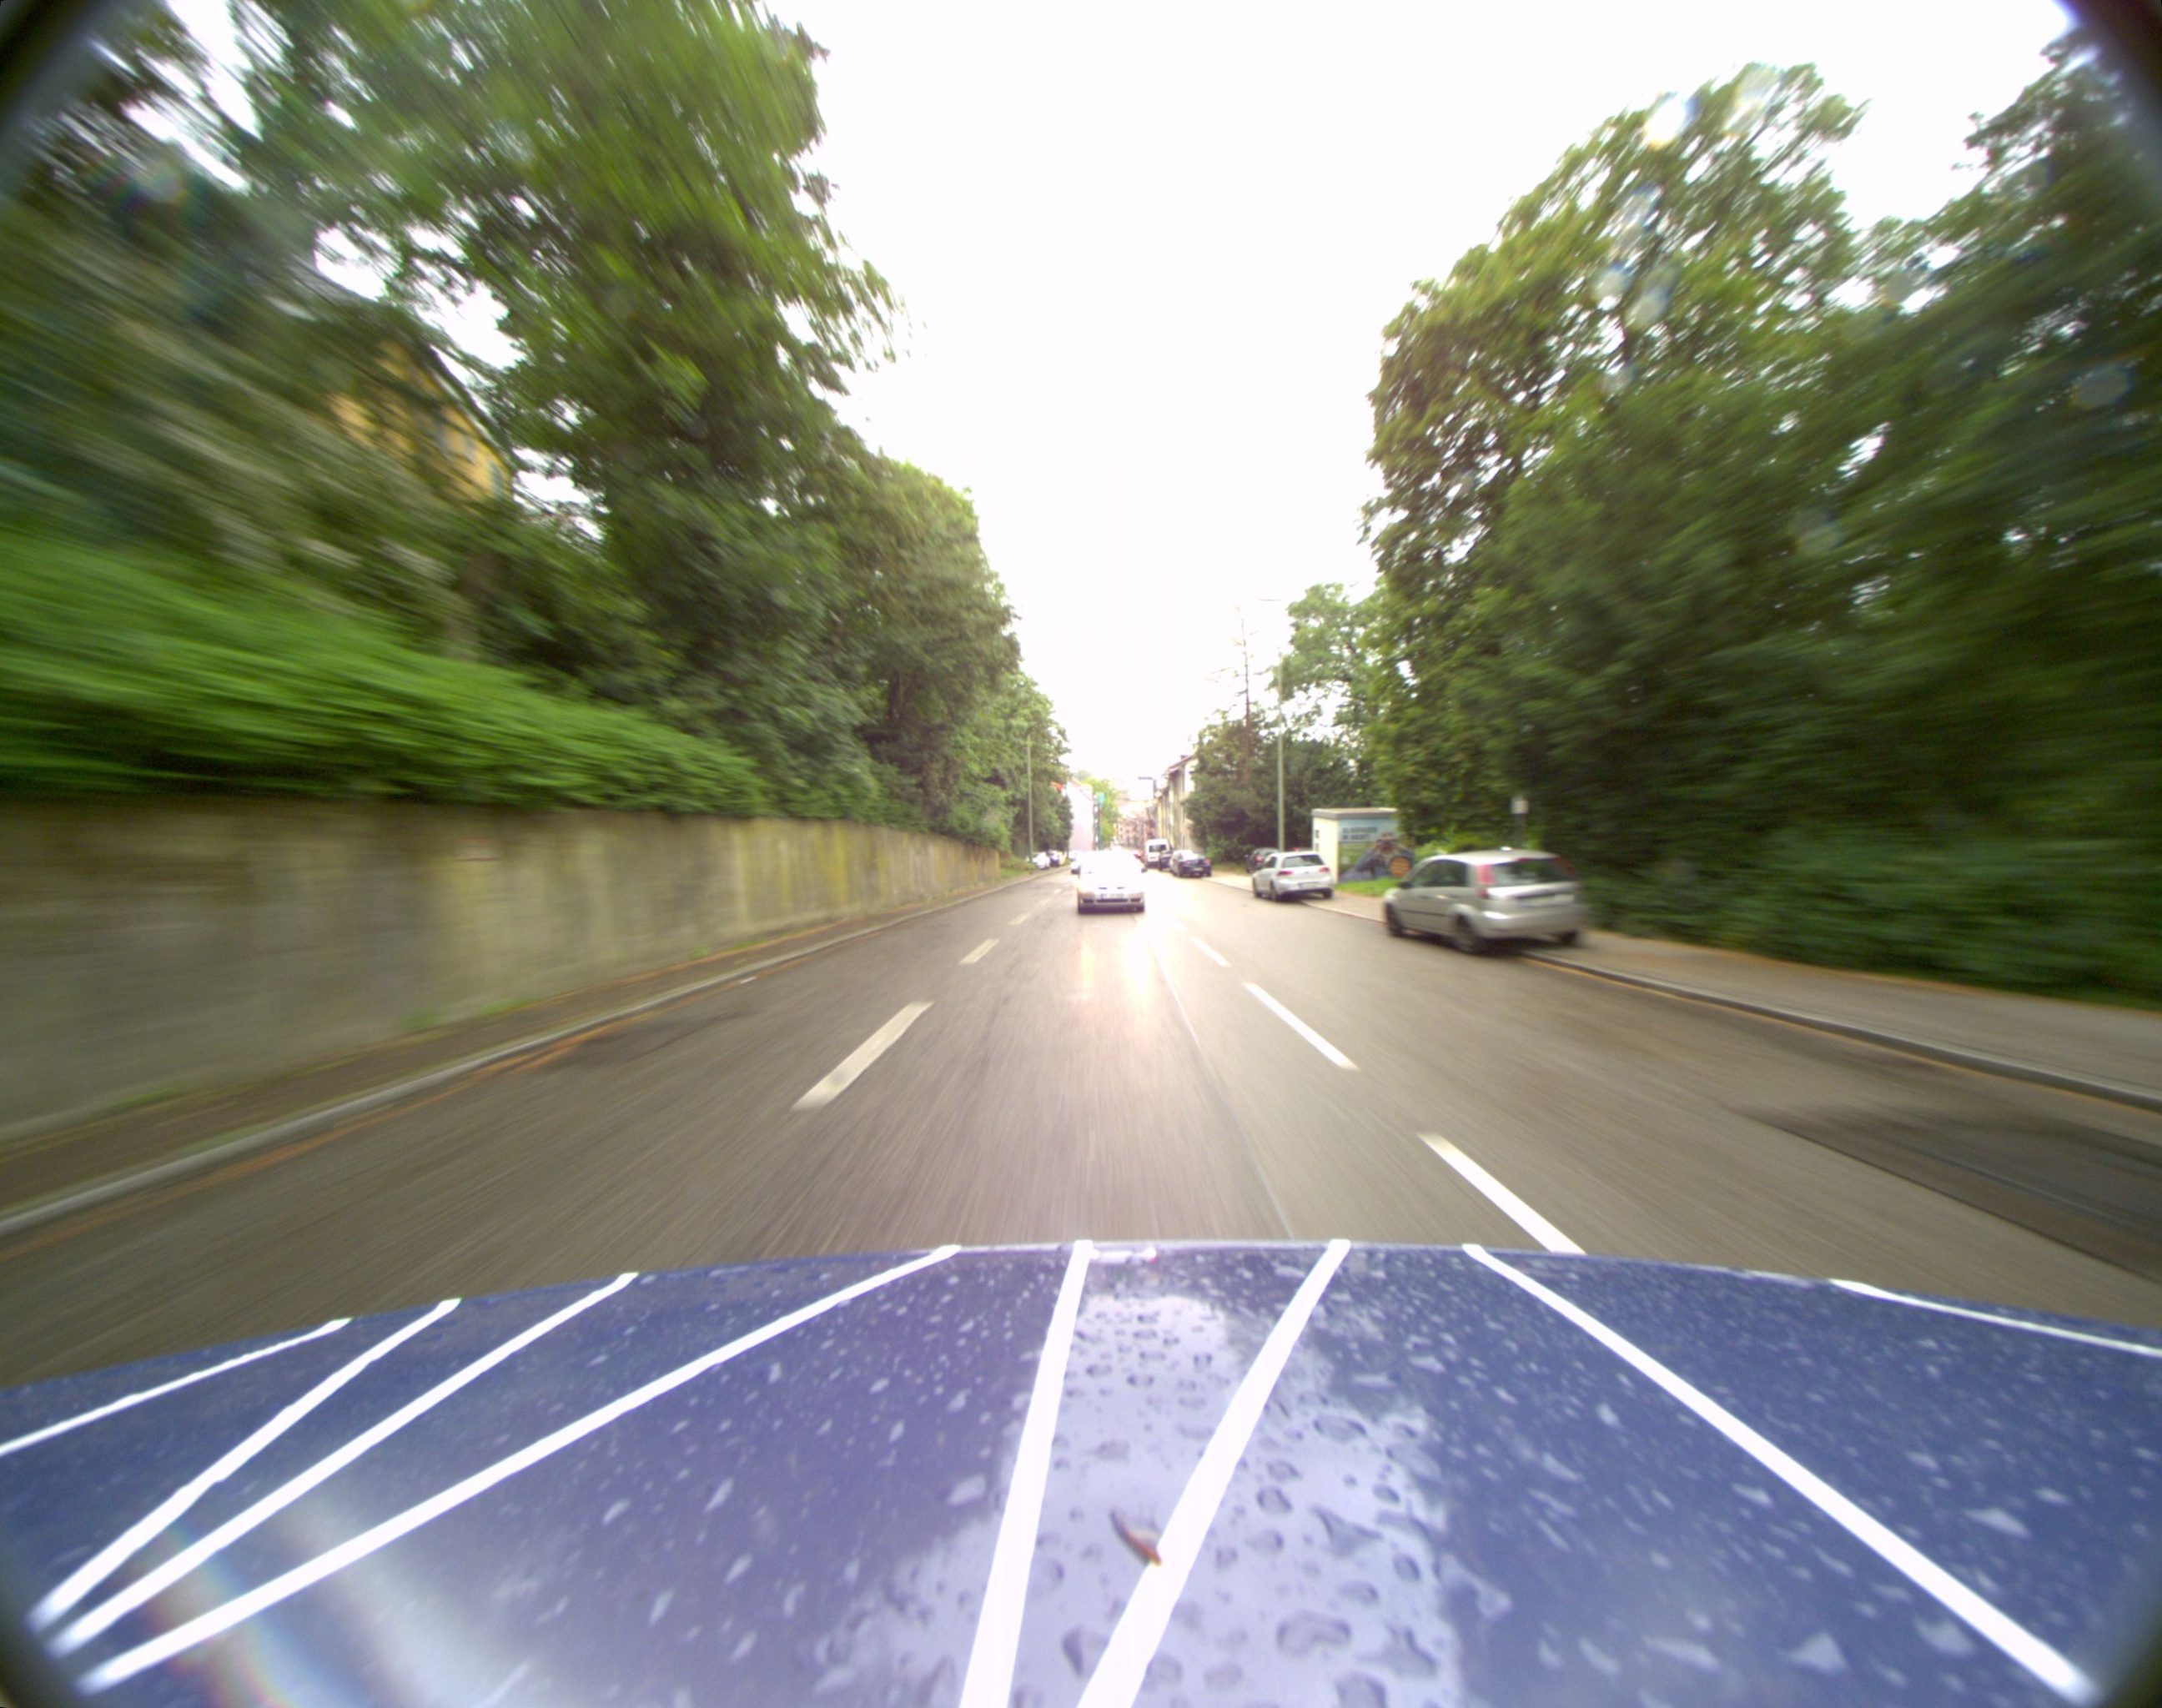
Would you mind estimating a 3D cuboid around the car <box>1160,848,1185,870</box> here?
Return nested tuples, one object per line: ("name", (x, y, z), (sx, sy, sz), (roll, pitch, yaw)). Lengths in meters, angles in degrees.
("car", (6.851, 0.348, 57.195), (1.648, 1.595, 4.186), (1, 1, 4))

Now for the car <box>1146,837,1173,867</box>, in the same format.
("car", (7.072, -0.192, 68.587), (2.122, 2.536, 5.444), (1, 1, 3))

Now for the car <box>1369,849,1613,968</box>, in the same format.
("car", (6.258, 0.724, 12.183), (1.630, 1.490, 3.927), (-4, 1, -2))

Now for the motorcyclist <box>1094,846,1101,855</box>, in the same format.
("motorcyclist", (2.228, -0.517, 102.344), (0.778, 1.120, 0.549), (-3, 1, 5))

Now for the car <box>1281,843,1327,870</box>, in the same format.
("car", (12.938, 0.122, 44.360), (1.625, 1.450, 3.774), (-1, 1, 1))

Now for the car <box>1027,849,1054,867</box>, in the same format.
("car", (-3.478, 0.339, 65.731), (1.742, 1.469, 4.741), (1, 1, 4))

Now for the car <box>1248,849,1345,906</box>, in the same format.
("car", (6.659, 0.654, 23.953), (1.891, 1.602, 4.239), (1, 1, 1))

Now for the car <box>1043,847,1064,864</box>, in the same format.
("car", (-2.780, 0.137, 76.914), (1.769, 1.614, 4.679), (-1, 1, 2))

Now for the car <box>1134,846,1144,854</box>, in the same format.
("car", (11.134, -0.794, 146.457), (1.908, 1.647, 4.329), (0, 1, 3))

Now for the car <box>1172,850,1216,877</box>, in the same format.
("car", (6.546, 0.515, 44.587), (1.864, 1.485, 4.755), (2, 1, 0))

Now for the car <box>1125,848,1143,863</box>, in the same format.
("car", (5.601, 0.161, 80.098), (1.764, 1.482, 4.001), (0, 1, 4))

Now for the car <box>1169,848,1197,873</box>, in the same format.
("car", (6.865, 0.407, 51.444), (1.659, 1.560, 4.149), (-1, 0, 4))

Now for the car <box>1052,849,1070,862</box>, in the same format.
("car", (-2.154, 0.145, 83.746), (1.567, 1.459, 3.899), (1, 1, 4))

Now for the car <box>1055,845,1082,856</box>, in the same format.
("car", (-1.941, -0.542, 122.320), (4.192, 1.565, 1.803), (2, 1, 3))

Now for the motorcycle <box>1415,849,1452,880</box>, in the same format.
("motorcycle", (14.395, 0.407, 31.105), (0.601, 1.182, 2.278), (-1, 1, 4))

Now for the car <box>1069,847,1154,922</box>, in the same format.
("car", (0.887, 0.664, 19.198), (1.825, 1.603, 4.190), (-2, 1, 6))

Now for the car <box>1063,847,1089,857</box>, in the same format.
("car", (-0.870, -0.312, 127.132), (4.192, 1.565, 1.803), (2, 1, 3))

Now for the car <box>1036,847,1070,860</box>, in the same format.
("car", (-3.633, -0.039, 99.839), (4.192, 1.584, 1.803), (-2, 1, 3))

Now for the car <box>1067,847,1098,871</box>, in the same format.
("car", (0.138, 0.352, 54.461), (1.998, 1.603, 3.967), (-2, 1, 3))

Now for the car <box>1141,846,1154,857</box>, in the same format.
("car", (10.725, -0.448, 122.670), (1.908, 1.647, 4.329), (0, 1, 3))

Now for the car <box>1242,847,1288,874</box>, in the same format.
("car", (10.681, 0.323, 44.401), (1.727, 1.450, 4.396), (-1, 1, 1))

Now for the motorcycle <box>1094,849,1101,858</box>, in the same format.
("motorcycle", (2.232, -0.076, 102.245), (0.778, 1.120, 2.300), (-3, 1, 6))

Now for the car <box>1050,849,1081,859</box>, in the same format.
("car", (-2.146, -0.033, 107.572), (4.192, 1.408, 1.803), (0, 1, 3))
